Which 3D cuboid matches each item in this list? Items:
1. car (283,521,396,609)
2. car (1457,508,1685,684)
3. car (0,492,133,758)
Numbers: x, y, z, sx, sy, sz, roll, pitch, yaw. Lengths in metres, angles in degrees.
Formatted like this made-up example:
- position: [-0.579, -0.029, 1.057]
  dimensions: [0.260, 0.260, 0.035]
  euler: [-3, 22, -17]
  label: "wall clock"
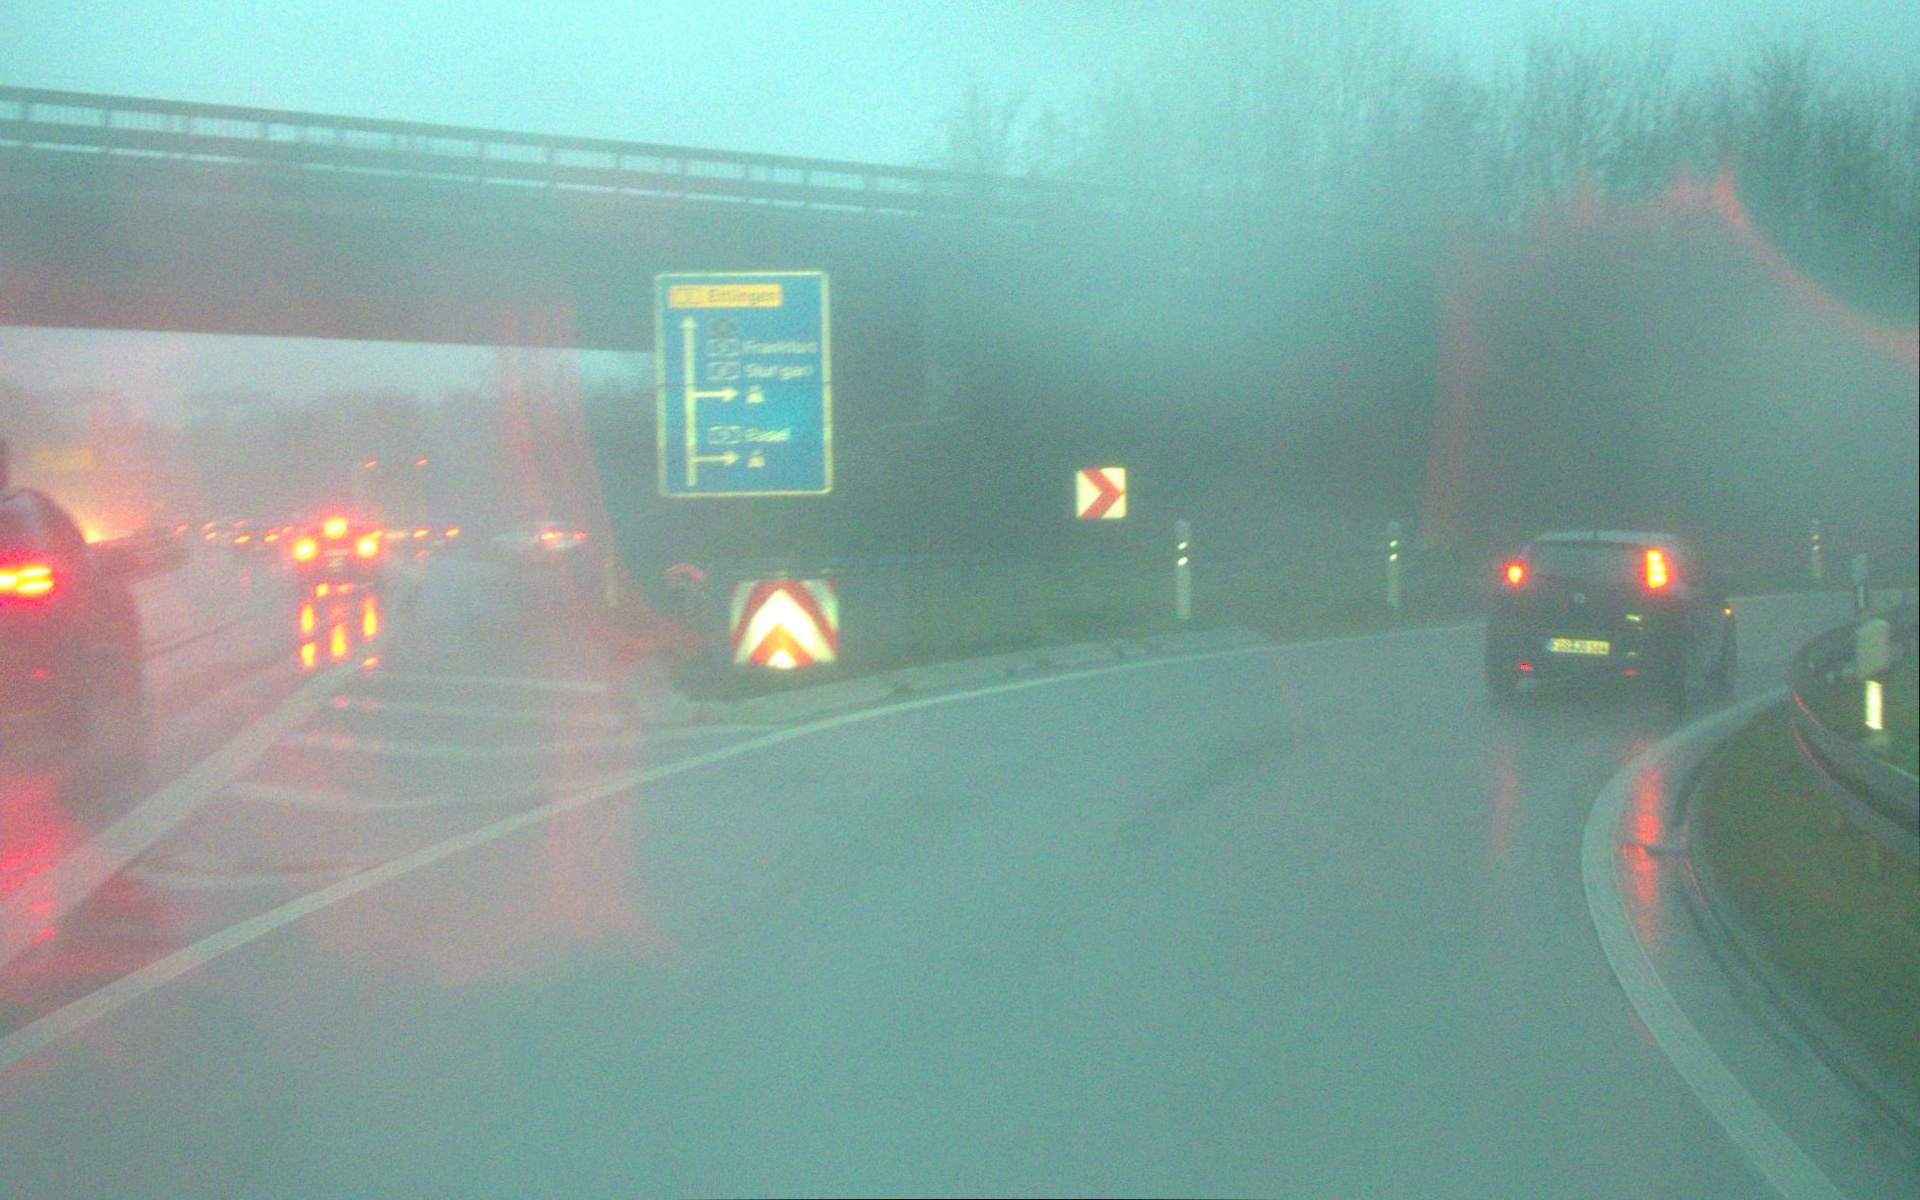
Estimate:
- position: [-12.809, -0.752, 71.150]
  dimensions: [1.878, 1.611, 3.876]
  euler: [-1, 4, -4]
  label: "car"
- position: [5.412, -0.088, 30.134]
  dimensions: [1.733, 1.424, 3.763]
  euler: [1, 2, 14]
  label: "car"
- position: [-6.827, 0.134, 23.772]
  dimensions: [1.993, 1.659, 4.001]
  euler: [-3, 2, -12]
  label: "car"
